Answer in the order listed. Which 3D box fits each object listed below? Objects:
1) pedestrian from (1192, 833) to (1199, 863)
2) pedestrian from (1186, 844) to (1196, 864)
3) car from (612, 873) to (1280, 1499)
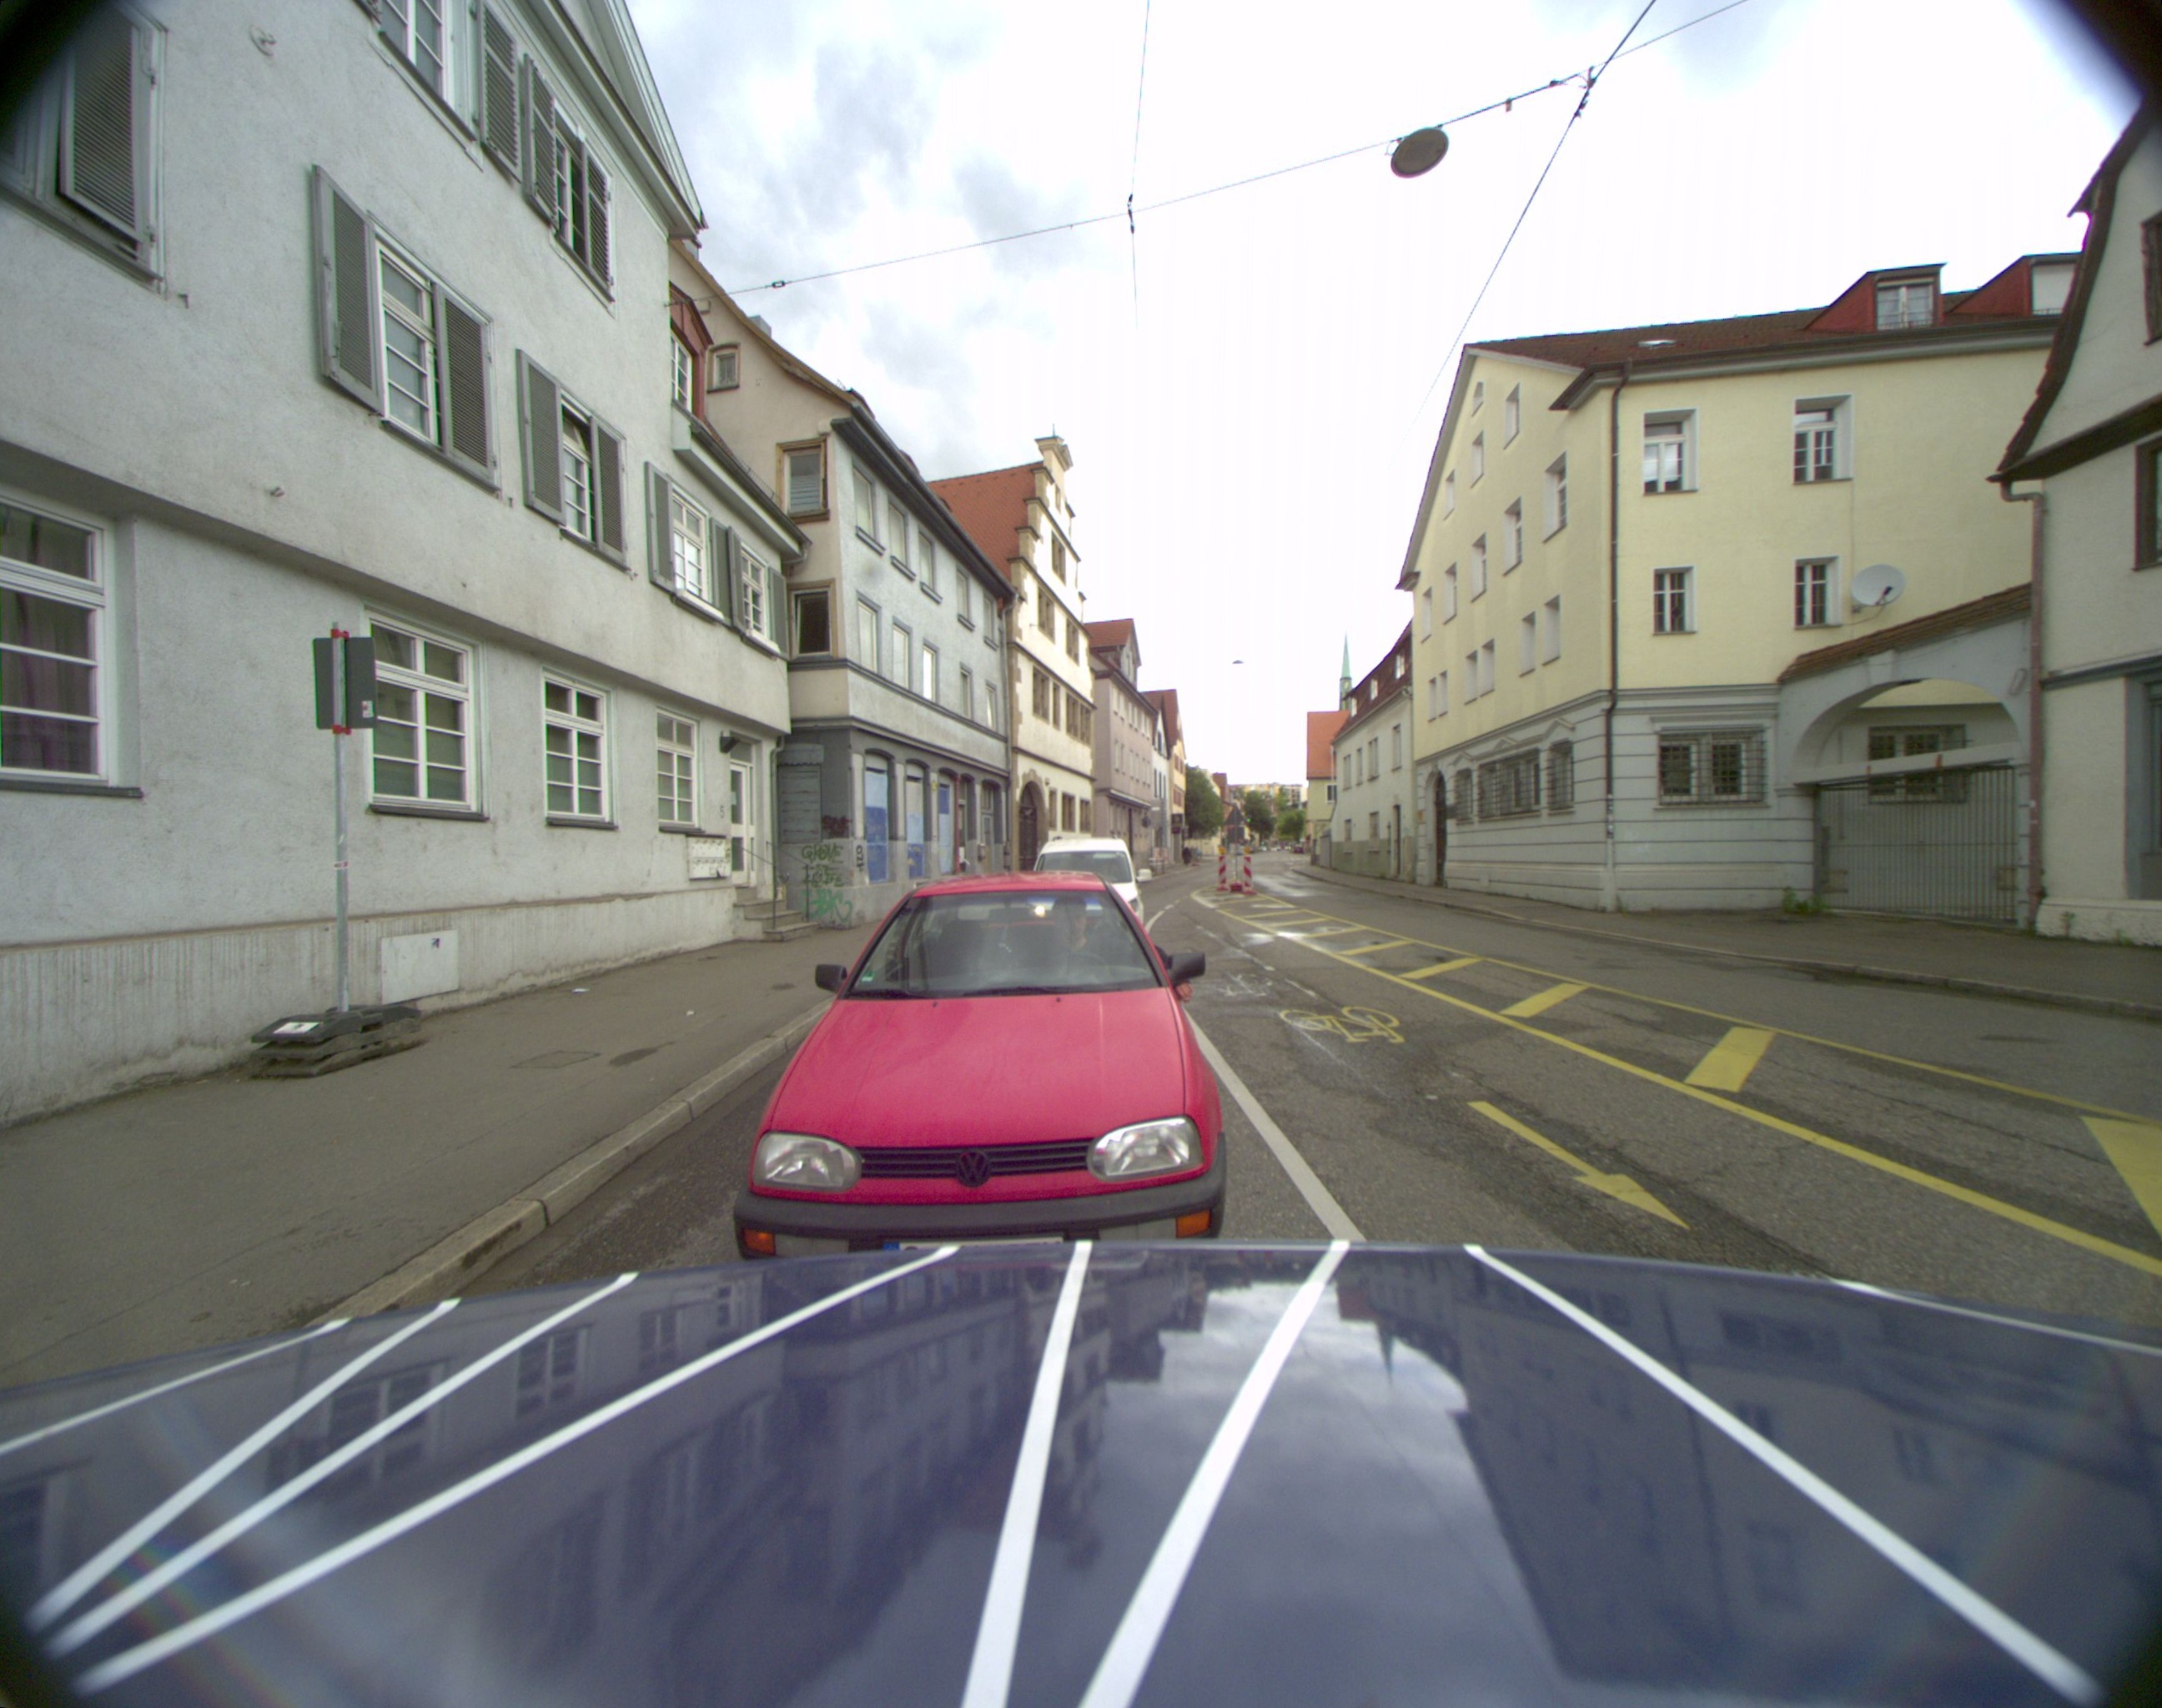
[{"bbox_3d":[9.576,-0.526,63.717,0.495,2.513,0.746,-1,1,12],"label":"pedestrian"},{"bbox_3d":[8.722,0.002,60.235,0.725,1.604,0.649,0,1,11],"label":"pedestrian"},{"bbox_3d":[-0.295,0.993,4.084,1.792,1.418,3.998,-1,3,2],"label":"car"}]
